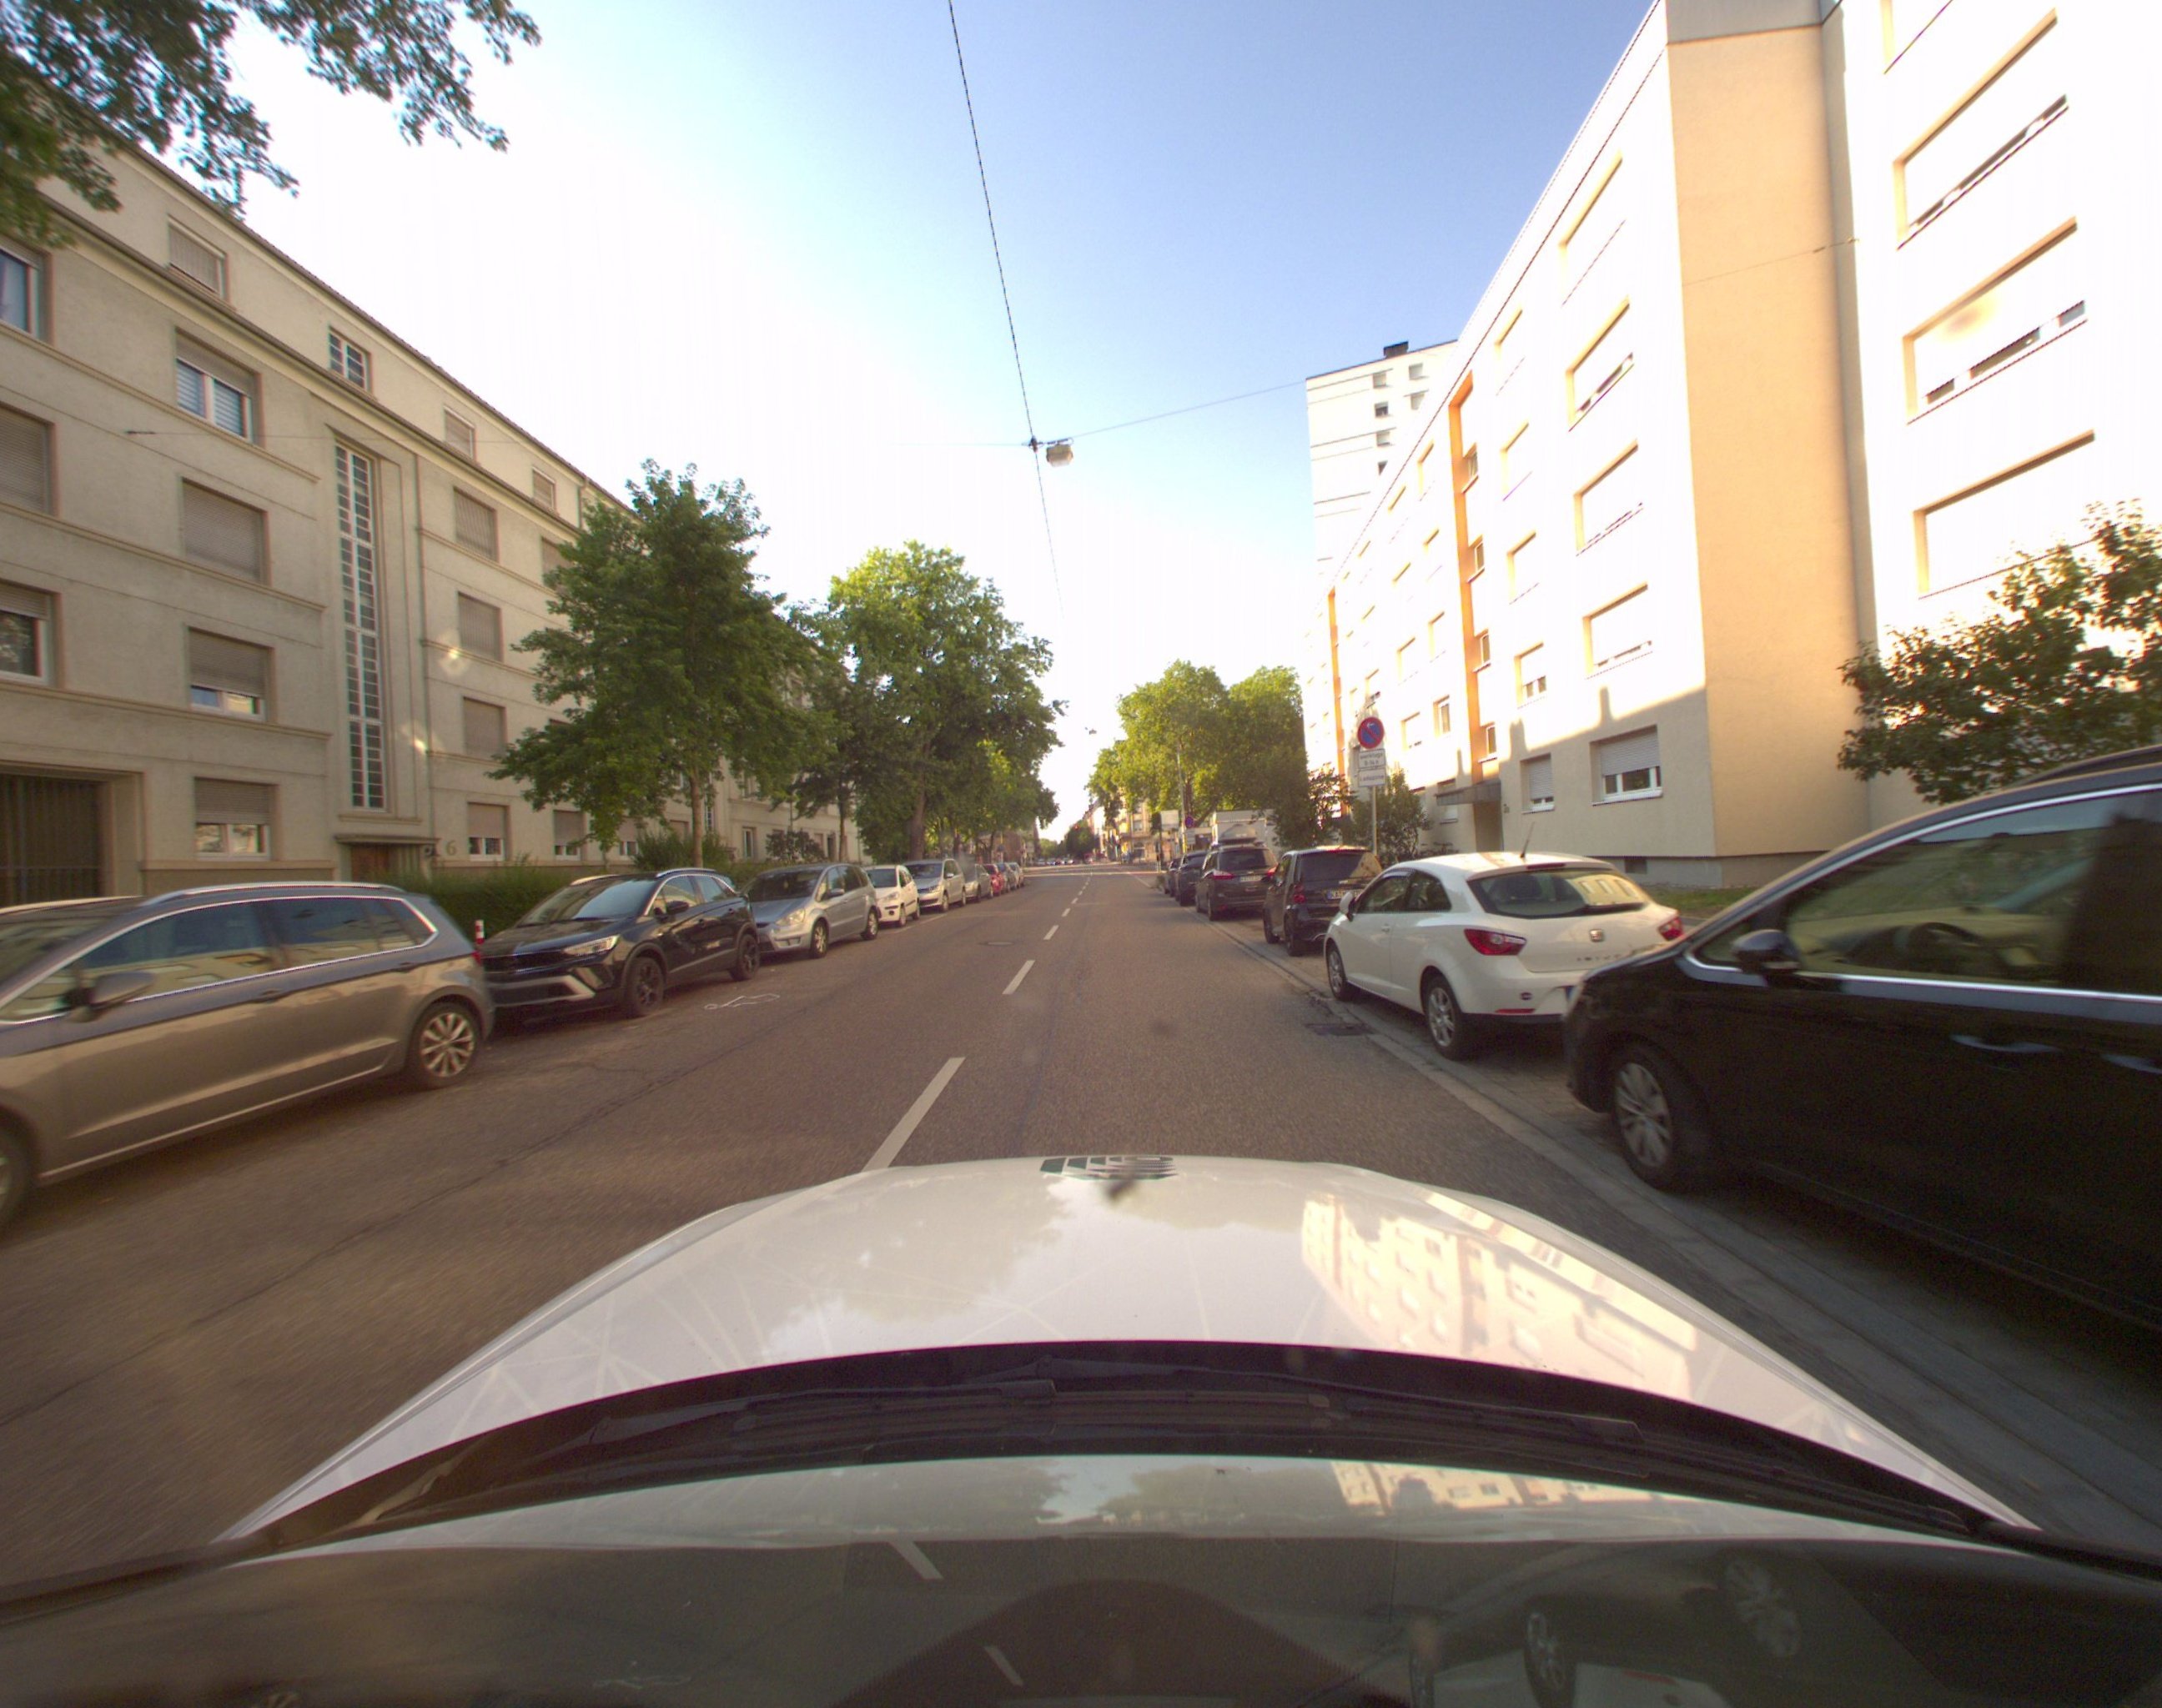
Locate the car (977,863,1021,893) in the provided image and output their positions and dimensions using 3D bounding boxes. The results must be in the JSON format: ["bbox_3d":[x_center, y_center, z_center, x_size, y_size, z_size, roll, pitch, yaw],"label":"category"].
[{"bbox_3d":[-4.140,1.207,41.684,1.697,1.440,4.130,-1,-1,2],"label":"car"}]

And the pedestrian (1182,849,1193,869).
[{"bbox_3d":[11.115,0.566,85.223,0.824,2.013,1.153,-6,-2,1],"label":"pedestrian"}]

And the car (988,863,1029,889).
[{"bbox_3d":[-4.088,1.240,46.622,1.763,1.352,4.712,-1,-1,2],"label":"car"}]

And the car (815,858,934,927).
[{"bbox_3d":[-5.135,0.938,20.848,1.864,1.558,4.102,-1,-1,2],"label":"car"}]

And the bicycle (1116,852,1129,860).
[{"bbox_3d":[6.053,0.281,117.904,1.766,0.982,0.661,-2,-1,31],"label":"bicycle"}]

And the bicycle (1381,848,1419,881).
[{"bbox_3d":[10.253,0.337,26.229,0.609,1.021,1.835,-1,-1,4],"label":"bicycle"}]

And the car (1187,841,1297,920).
[{"bbox_3d":[3.824,0.581,20.037,1.891,1.651,4.344,-3,0,1],"label":"car"}]

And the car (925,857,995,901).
[{"bbox_3d":[-4.527,0.936,31.167,1.864,1.558,4.498,-1,-1,2],"label":"car"}]

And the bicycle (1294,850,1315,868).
[{"bbox_3d":[12.266,0.282,44.740,0.634,0.925,2.231,-1,1,2],"label":"bicycle"}]

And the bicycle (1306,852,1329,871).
[{"bbox_3d":[12.994,0.401,44.807,0.634,0.925,2.231,-1,1,2],"label":"bicycle"}]

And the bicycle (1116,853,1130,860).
[{"bbox_3d":[6.167,0.322,119.407,1.765,0.895,0.755,-3,0,26],"label":"bicycle"}]

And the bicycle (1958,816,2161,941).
[{"bbox_3d":[9.809,0.200,7.646,0.598,1.081,2.394,-3,1,2],"label":"bicycle"}]

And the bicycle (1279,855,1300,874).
[{"bbox_3d":[11.434,0.569,44.668,0.634,0.925,2.231,-1,1,2],"label":"bicycle"}]

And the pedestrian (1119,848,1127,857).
[{"bbox_3d":[6.166,-0.176,119.424,1.039,1.278,0.796,-2,-2,26],"label":"pedestrian"}]

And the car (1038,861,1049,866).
[{"bbox_3d":[-9.091,2.325,199.046,1.582,1.144,3.398,-1,-1,17],"label":"car"}]

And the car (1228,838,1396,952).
[{"bbox_3d":[3.517,0.605,13.137,1.600,1.494,4.043,-2,-1,1],"label":"car"}]

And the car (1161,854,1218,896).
[{"bbox_3d":[4.083,0.805,31.070,1.734,1.473,4.001,-1,-1,2],"label":"car"}]

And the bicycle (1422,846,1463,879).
[{"bbox_3d":[11.645,0.286,26.273,0.609,1.021,1.835,-1,-1,4],"label":"bicycle"}]

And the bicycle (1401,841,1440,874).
[{"bbox_3d":[10.926,0.138,26.264,0.609,1.021,1.835,-1,-1,4],"label":"bicycle"}]

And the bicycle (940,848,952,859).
[{"bbox_3d":[-14.461,-0.052,87.341,0.715,1.145,3.293,-1,-1,2],"label":"bicycle"}]

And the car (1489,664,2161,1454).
[{"bbox_3d":[3.365,0.384,2.299,2.017,1.750,4.768,-5,-1,2],"label":"car"}]

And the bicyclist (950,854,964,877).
[{"bbox_3d":[-11.061,1.003,72.576,0.964,2.014,0.802,-2,-2,36],"label":"bicyclist"}]

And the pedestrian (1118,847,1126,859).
[{"bbox_3d":[5.951,-0.172,117.958,0.981,1.708,0.632,-2,-2,31],"label":"pedestrian"}]

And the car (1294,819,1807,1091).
[{"bbox_3d":[3.242,0.615,6.925,1.673,1.415,4.725,-4,-1,2],"label":"car"}]

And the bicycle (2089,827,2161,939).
[{"bbox_3d":[10.986,0.299,7.445,0.598,1.081,2.394,-3,1,2],"label":"bicycle"}]

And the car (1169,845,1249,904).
[{"bbox_3d":[3.910,0.631,25.668,1.920,1.659,4.679,-1,-1,2],"label":"car"}]

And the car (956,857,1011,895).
[{"bbox_3d":[-4.281,0.975,36.310,1.864,1.558,4.001,-1,-1,2],"label":"car"}]

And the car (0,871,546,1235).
[{"bbox_3d":[-5.581,0.919,4.716,1.949,1.558,4.347,-3,-1,2],"label":"car"}]

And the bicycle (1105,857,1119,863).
[{"bbox_3d":[6.370,1.153,165.374,2.801,1.203,0.515,-1,-2,-8],"label":"bicycle"}]

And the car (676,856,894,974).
[{"bbox_3d":[-5.119,0.940,14.992,1.864,1.558,5.058,-7,0,2],"label":"car"}]

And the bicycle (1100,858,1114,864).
[{"bbox_3d":[5.266,1.465,163.985,2.798,1.203,0.509,-1,-1,-5],"label":"bicycle"}]

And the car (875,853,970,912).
[{"bbox_3d":[-4.943,0.869,26.132,1.909,1.677,4.975,-1,-1,2],"label":"car"}]

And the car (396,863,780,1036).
[{"bbox_3d":[-5.497,0.953,9.909,1.864,1.558,4.367,-2,-1,2],"label":"car"}]
